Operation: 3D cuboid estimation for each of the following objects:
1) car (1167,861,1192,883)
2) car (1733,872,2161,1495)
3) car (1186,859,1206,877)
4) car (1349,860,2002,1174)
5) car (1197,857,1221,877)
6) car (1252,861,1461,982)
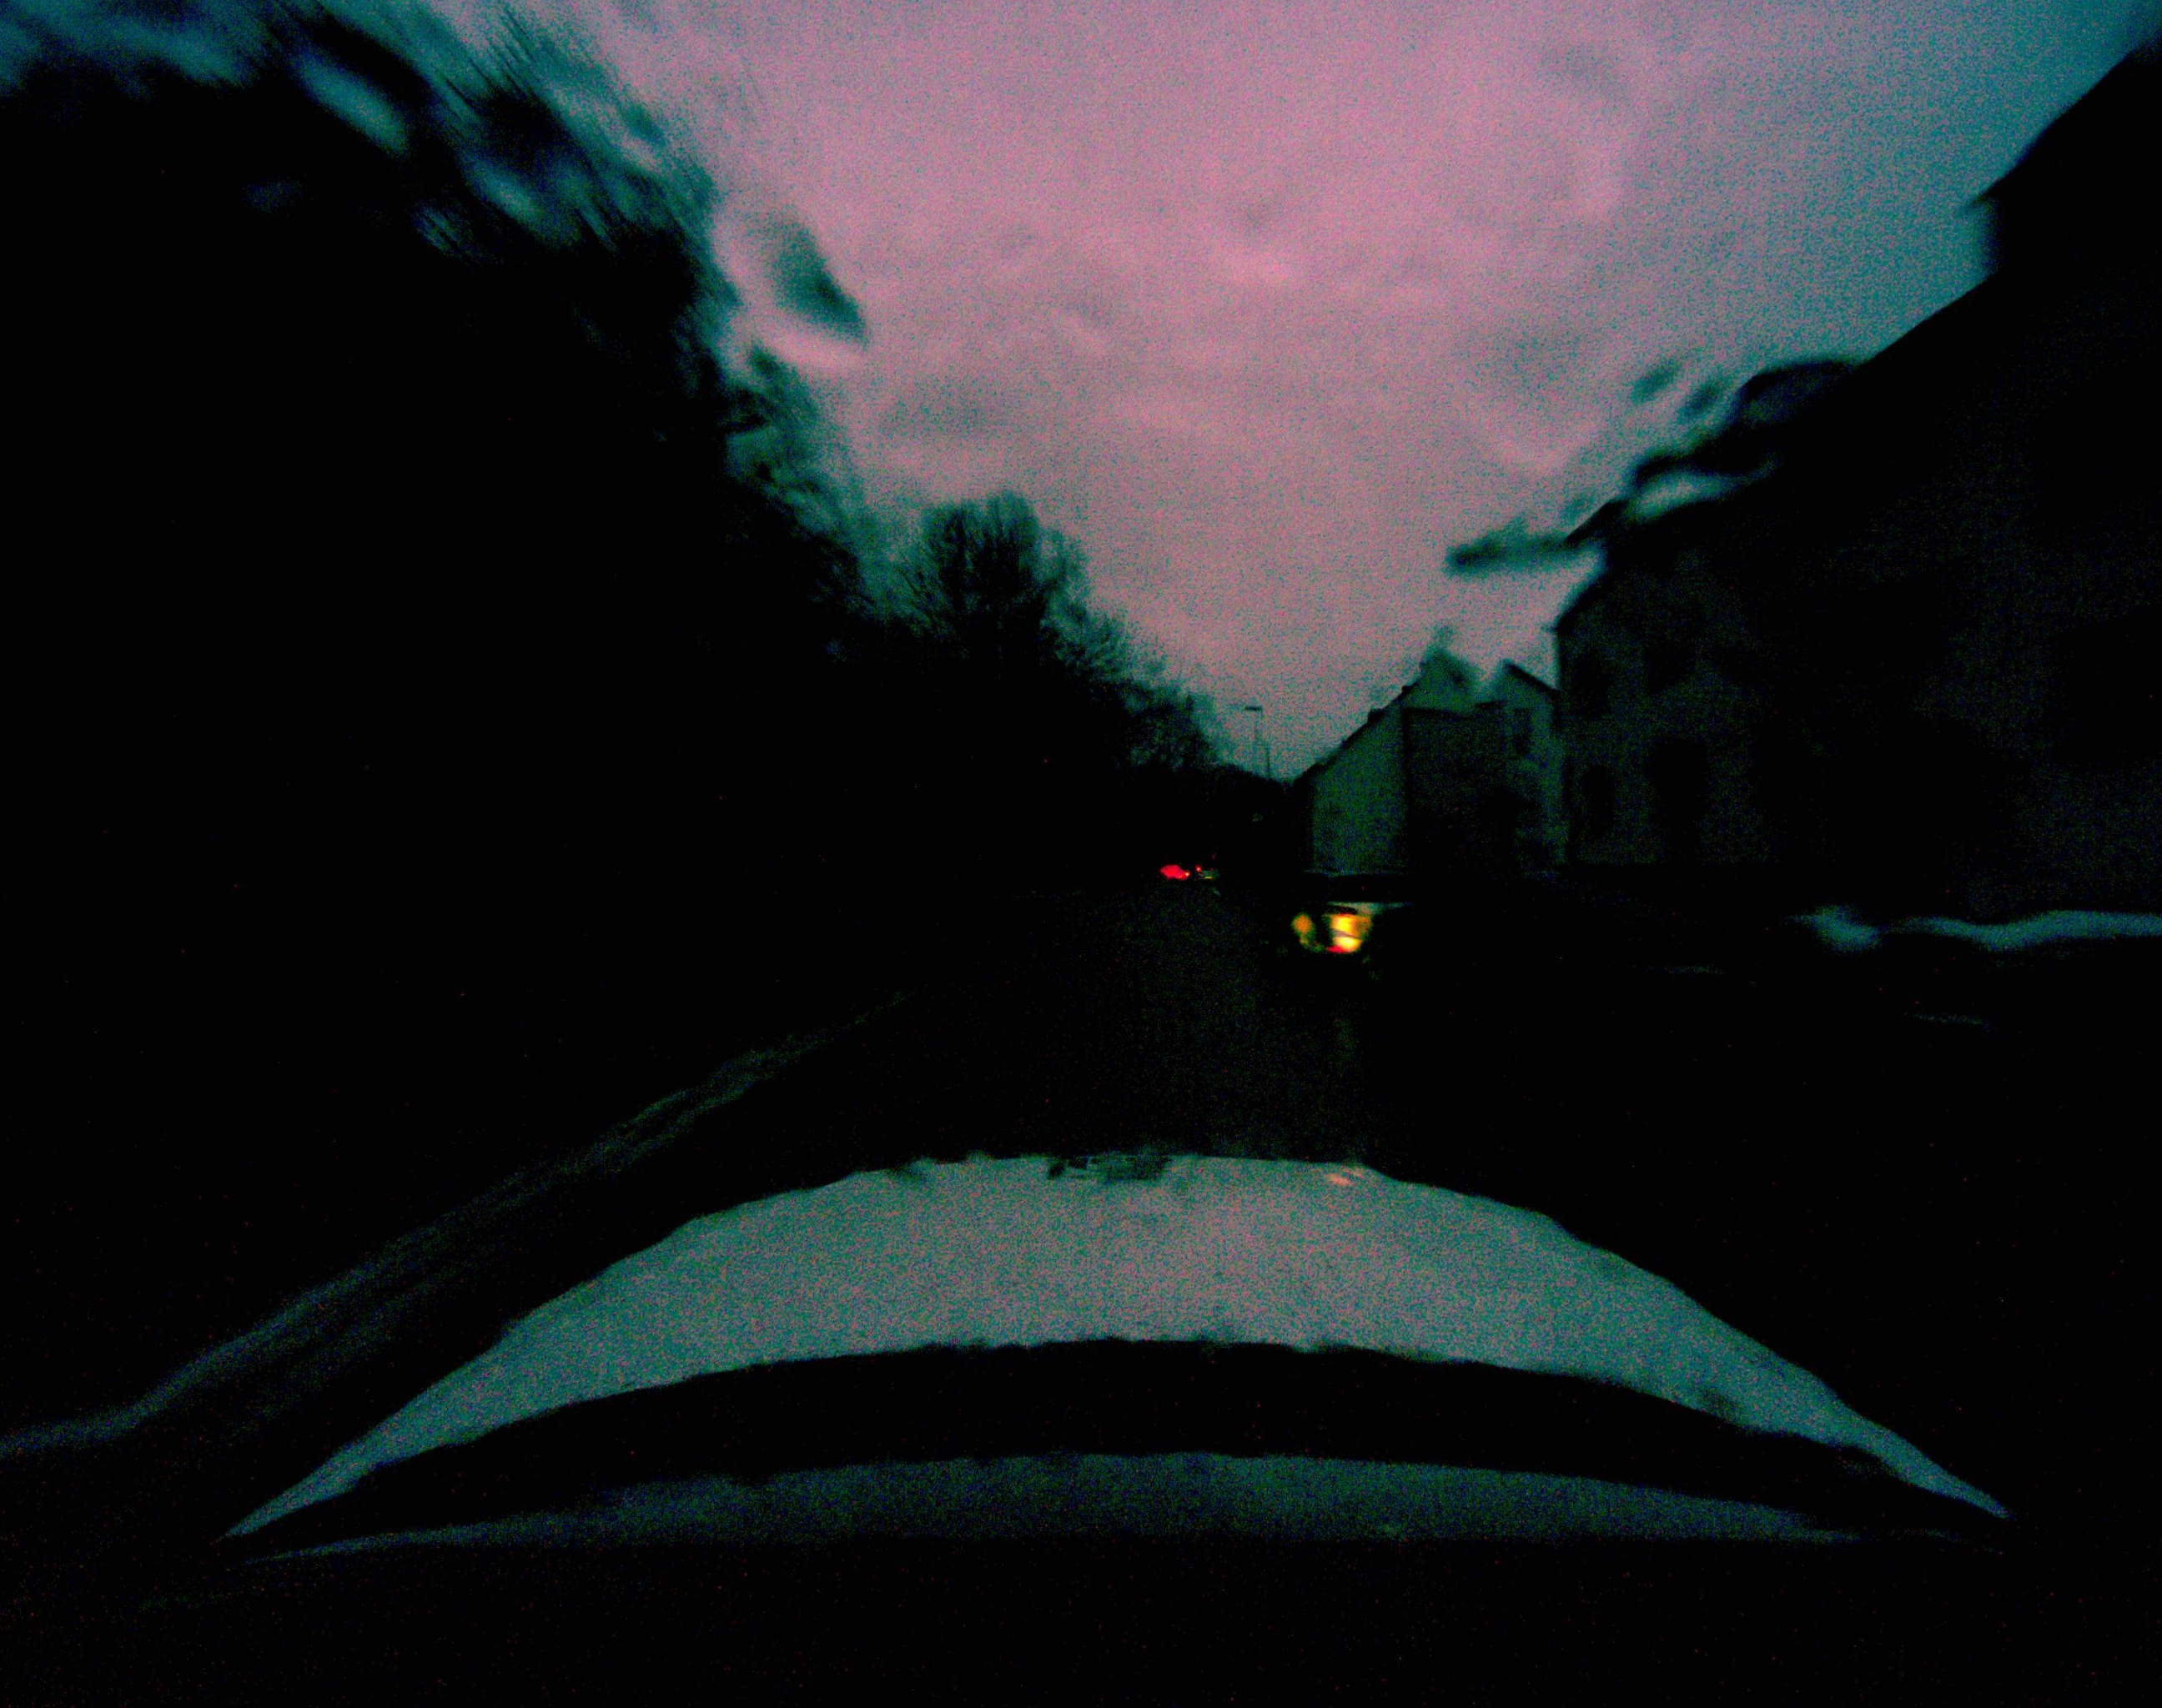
[{"bbox_3d":[8.320,1.489,68.486,1.922,1.781,4.009,-2,-1,8],"label":"car"},{"bbox_3d":[3.266,0.744,0.827,1.649,1.390,4.534,-2,-1,2],"label":"car"},{"bbox_3d":[11.553,1.386,81.674,1.678,1.775,3.873,-2,-1,12],"label":"car"},{"bbox_3d":[3.508,0.794,6.067,1.649,1.429,4.565,1,-1,2],"label":"car"},{"bbox_3d":[10.166,1.055,64.616,1.693,1.506,4.037,0,-1,11],"label":"car"},{"bbox_3d":[3.800,0.857,12.097,1.731,1.429,4.458,1,-1,2],"label":"car"}]
